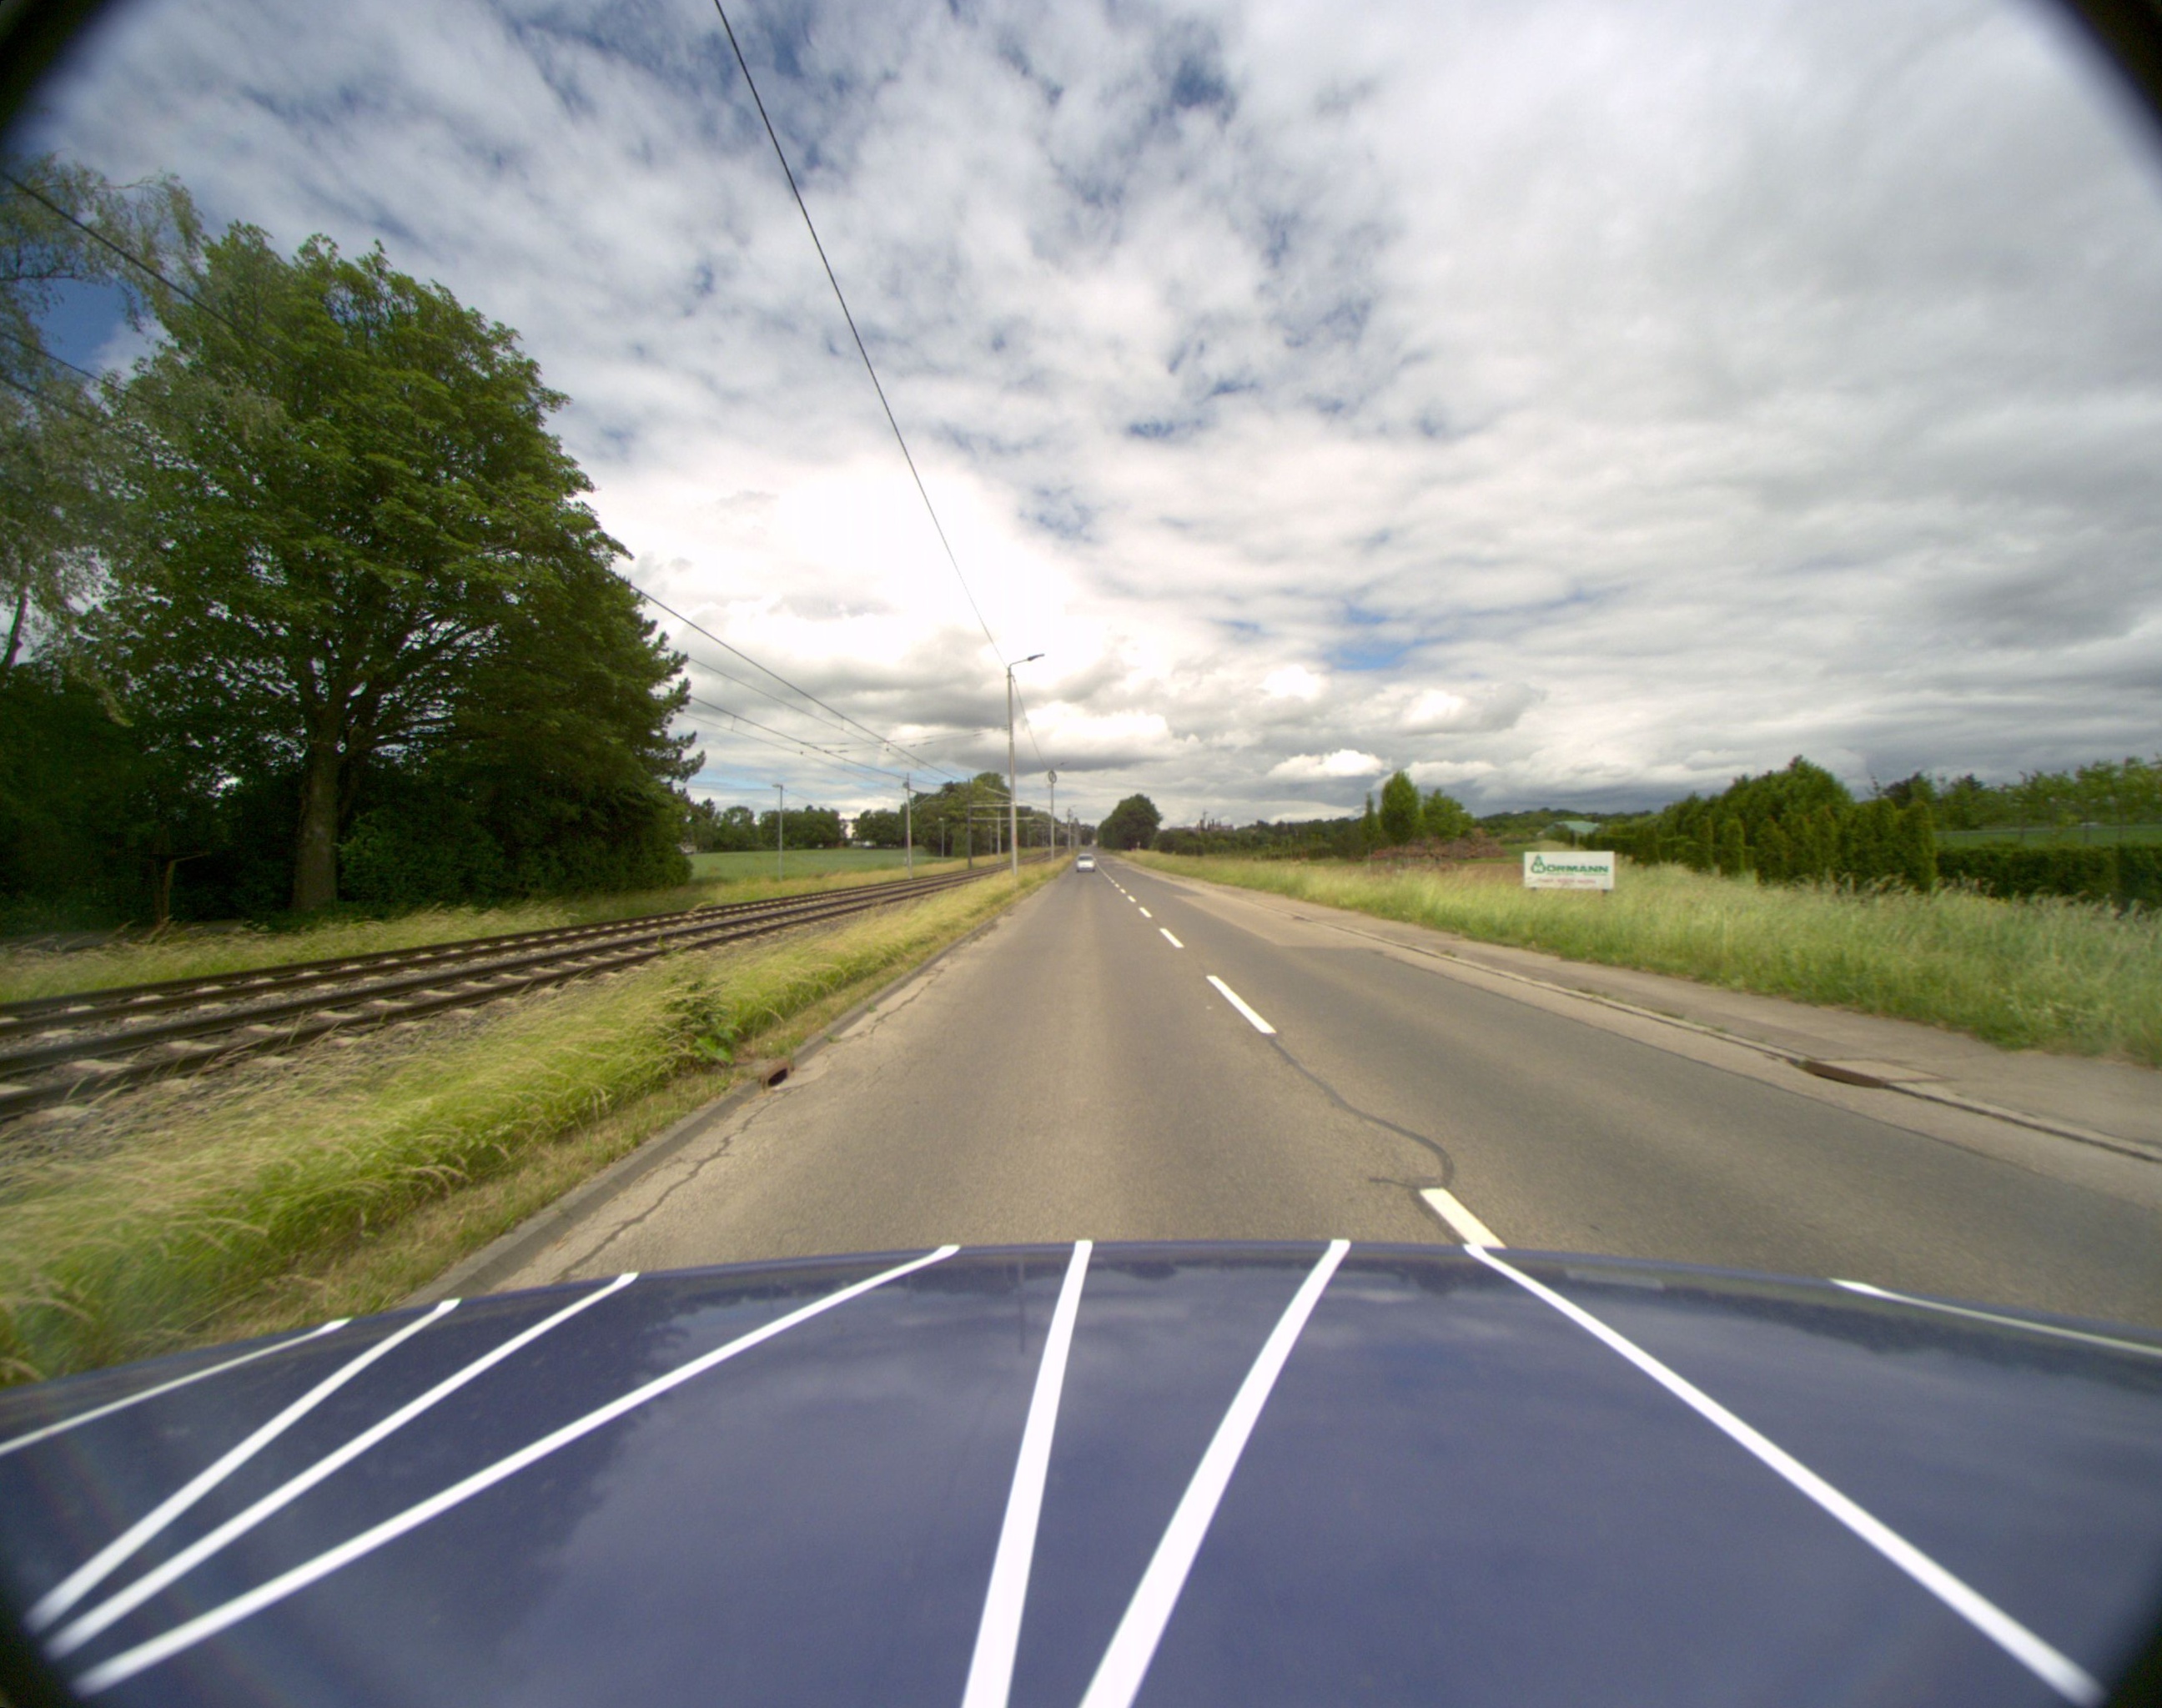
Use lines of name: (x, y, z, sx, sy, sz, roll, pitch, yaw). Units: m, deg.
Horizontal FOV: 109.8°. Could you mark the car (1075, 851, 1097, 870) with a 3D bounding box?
car: (0.445, 0.603, 70.317, 1.999, 1.679, 3.999, -1, 1, -1)
